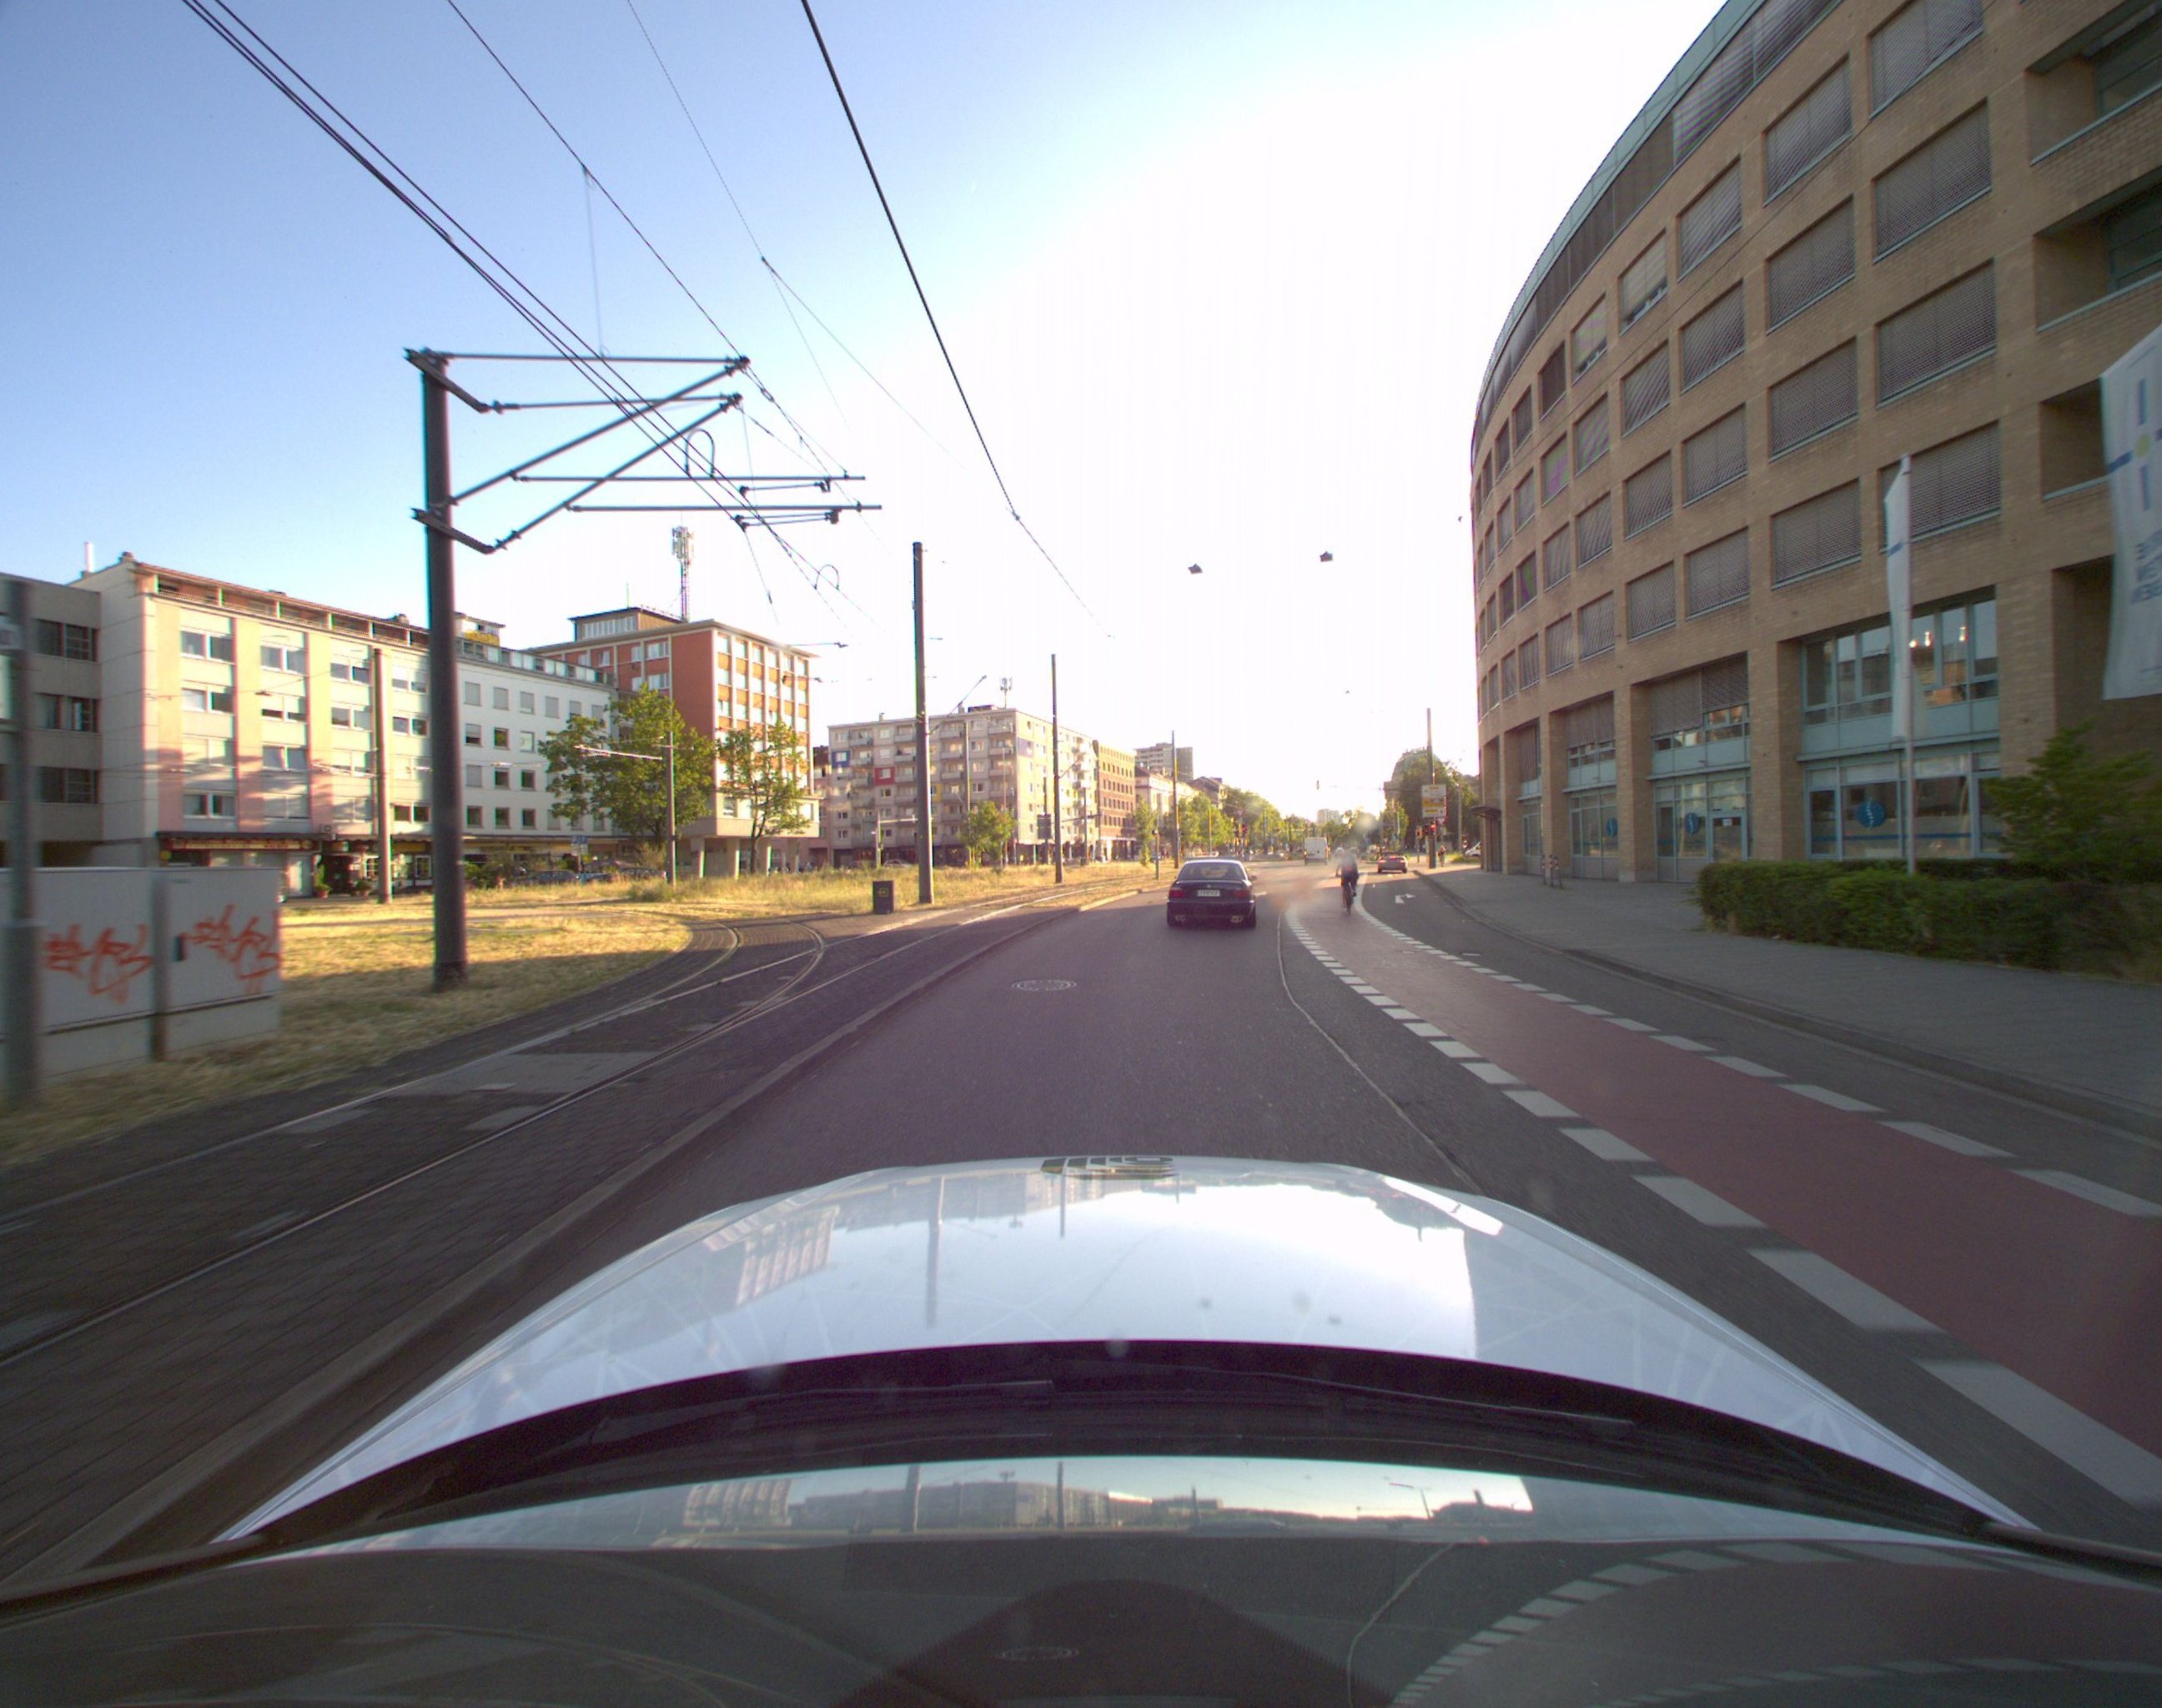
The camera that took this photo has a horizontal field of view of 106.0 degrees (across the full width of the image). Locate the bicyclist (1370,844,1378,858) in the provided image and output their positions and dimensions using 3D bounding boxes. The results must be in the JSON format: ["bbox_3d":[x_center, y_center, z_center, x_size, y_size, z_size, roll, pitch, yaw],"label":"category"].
[{"bbox_3d":[32.711,-0.350,90.866,0.791,1.571,0.666,-2,1,20],"label":"bicyclist"}]

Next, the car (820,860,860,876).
[{"bbox_3d":[-27.380,1.573,92.494,3.836,1.585,1.811,-2,1,15],"label":"car"}]

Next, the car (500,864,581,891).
[{"bbox_3d":[-34.764,1.473,52.439,1.737,1.526,4.025,-1,1,43],"label":"car"}]

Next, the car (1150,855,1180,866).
[{"bbox_3d":[11.719,0.926,113.596,3.961,1.434,1.724,0,2,11],"label":"car"}]

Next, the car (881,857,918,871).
[{"bbox_3d":[-21.682,1.183,97.106,3.836,1.585,1.811,-2,1,15],"label":"car"}]

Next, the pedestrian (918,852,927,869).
[{"bbox_3d":[-17.631,0.765,90.714,0.597,1.847,0.826,-2,1,21],"label":"pedestrian"}]

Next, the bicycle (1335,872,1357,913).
[{"bbox_3d":[6.982,0.982,21.453,0.511,0.954,1.784,0,1,18],"label":"bicycle"}]

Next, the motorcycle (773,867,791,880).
[{"bbox_3d":[-26.180,1.702,71.321,1.438,1.068,0.534,-2,1,19],"label":"motorcycle"}]

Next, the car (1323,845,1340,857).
[{"bbox_3d":[31.718,-0.399,103.114,1.722,1.385,4.021,-2,1,21],"label":"car"}]

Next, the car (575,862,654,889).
[{"bbox_3d":[-31.844,1.444,55.686,1.737,1.526,4.318,-1,1,43],"label":"car"}]

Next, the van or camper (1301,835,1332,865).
[{"bbox_3d":[21.672,-0.417,74.747,2.243,2.624,4.527,-2,1,21],"label":"van or camper"}]

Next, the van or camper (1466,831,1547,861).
[{"bbox_3d":[42.606,-0.809,81.739,6.981,2.674,2.613,-2,1,22],"label":"van or camper"}]

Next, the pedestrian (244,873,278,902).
[{"bbox_3d":[-45.808,1.866,45.487,1.109,1.528,0.857,-2,1,18],"label":"pedestrian"}]

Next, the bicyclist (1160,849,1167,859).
[{"bbox_3d":[11.375,0.005,111.759,0.851,1.442,0.663,0,1,-2],"label":"bicyclist"}]

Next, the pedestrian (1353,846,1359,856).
[{"bbox_3d":[39.038,-0.426,115.600,0.611,1.475,0.805,-2,1,24],"label":"pedestrian"}]

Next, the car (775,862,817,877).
[{"bbox_3d":[-33.360,1.767,95.350,4.248,1.585,1.997,-2,1,15],"label":"car"}]

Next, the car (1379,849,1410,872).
[{"bbox_3d":[20.308,0.385,52.928,1.769,1.354,4.288,0,1,19],"label":"car"}]

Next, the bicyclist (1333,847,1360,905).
[{"bbox_3d":[6.940,0.555,21.302,0.650,1.483,1.043,0,0,18],"label":"bicyclist"}]

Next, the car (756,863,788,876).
[{"bbox_3d":[-43.731,2.217,115.416,3.836,1.585,1.811,-2,1,15],"label":"car"}]

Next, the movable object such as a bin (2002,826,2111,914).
[{"bbox_3d":[17.068,0.250,14.294,0.961,1.437,1.354,-1,1,39],"label":"movable object such as a bin"}]

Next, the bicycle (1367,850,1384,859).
[{"bbox_3d":[32.818,0.005,90.841,1.714,0.970,0.612,-1,1,19],"label":"bicycle"}]

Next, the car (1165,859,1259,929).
[{"bbox_3d":[3.009,0.803,18.261,1.818,1.354,4.655,0,0,11],"label":"car"}]

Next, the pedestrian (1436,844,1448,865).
[{"bbox_3d":[27.456,0.053,61.926,0.671,1.569,0.804,-2,1,18],"label":"pedestrian"}]

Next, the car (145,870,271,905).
[{"bbox_3d":[-41.645,1.553,38.975,1.690,1.390,4.024,-1,1,44],"label":"car"}]

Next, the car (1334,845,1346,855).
[{"bbox_3d":[43.671,-0.708,137.315,1.780,1.566,4.018,-2,1,16],"label":"car"}]

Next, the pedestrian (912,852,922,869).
[{"bbox_3d":[-18.353,0.770,91.214,0.699,1.851,0.741,-2,1,20],"label":"pedestrian"}]

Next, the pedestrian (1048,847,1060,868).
[{"bbox_3d":[-2.241,0.288,67.469,0.712,1.762,0.654,-1,1,41],"label":"pedestrian"}]
